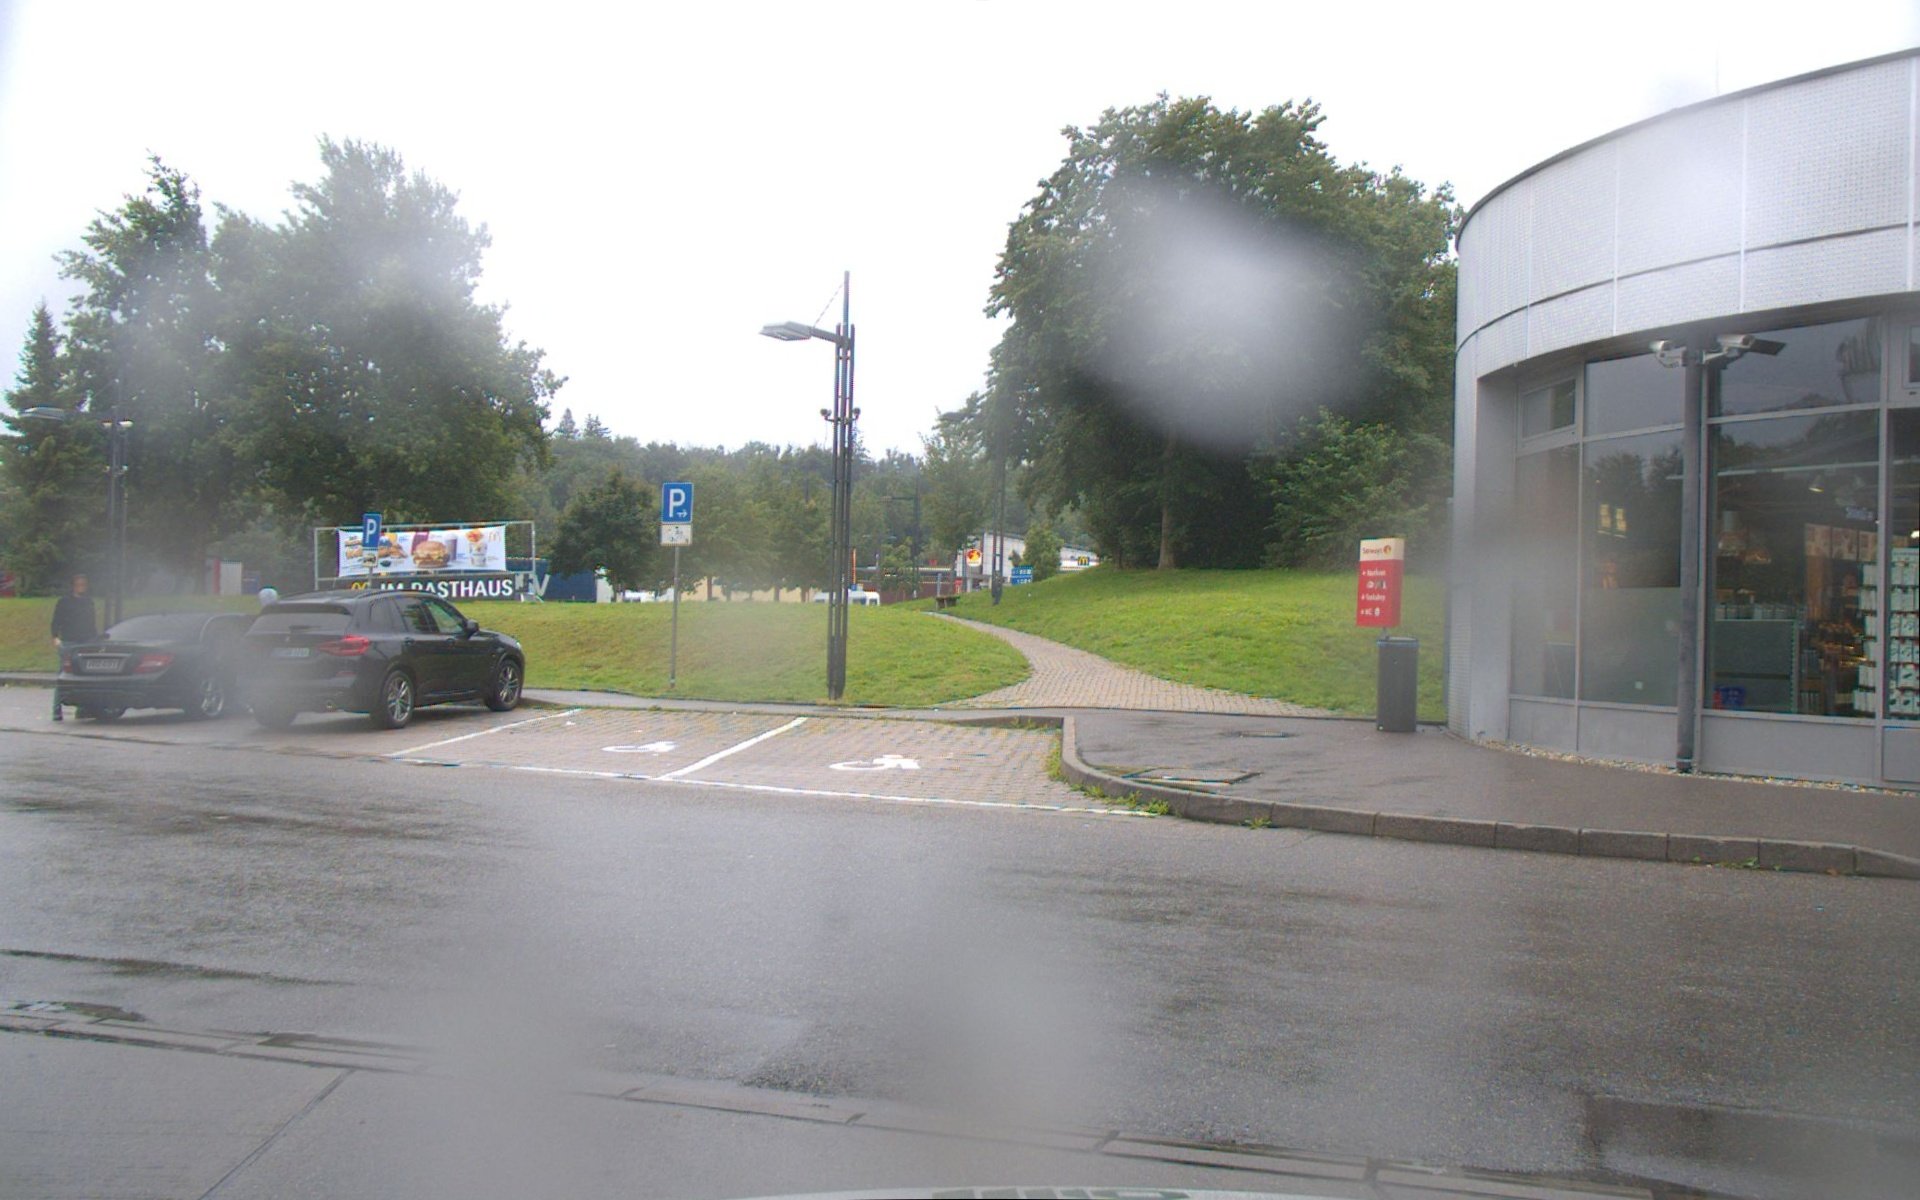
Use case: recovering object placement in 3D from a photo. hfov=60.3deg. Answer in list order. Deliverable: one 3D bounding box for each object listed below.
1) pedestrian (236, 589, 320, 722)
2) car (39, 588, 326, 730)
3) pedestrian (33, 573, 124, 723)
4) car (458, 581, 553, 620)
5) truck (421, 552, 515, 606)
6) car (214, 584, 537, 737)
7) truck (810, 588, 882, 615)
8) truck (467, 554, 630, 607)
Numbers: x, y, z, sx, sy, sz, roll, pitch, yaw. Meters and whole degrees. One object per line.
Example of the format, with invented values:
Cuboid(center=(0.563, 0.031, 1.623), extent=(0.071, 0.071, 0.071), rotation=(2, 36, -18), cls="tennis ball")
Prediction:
Cuboid(center=(-8.726, 0.699, 21.146), extent=(0.939, 1.660, 0.698), rotation=(1, -1, -25), cls="pedestrian")
Cuboid(center=(-10.570, 0.719, 22.888), extent=(1.976, 1.741, 4.342), rotation=(-1, 1, -2), cls="car")
Cuboid(center=(-11.654, 0.619, 21.867), extent=(0.875, 1.920, 0.702), rotation=(1, -1, 34), cls="pedestrian")
Cuboid(center=(-22.197, 0.041, 80.873), extent=(4.092, 1.814, 1.820), rotation=(1, 0, -37), cls="car")
Cuboid(center=(-27.975, -1.174, 94.253), extent=(2.142, 2.971, 5.384), rotation=(1, 0, 24), cls="truck")
Cuboid(center=(-7.362, 0.692, 21.370), extent=(1.973, 1.741, 4.347), rotation=(-1, 1, 11), cls="car")
Cuboid(center=(-9.226, 0.131, 133.665), extent=(5.298, 2.049, 2.366), rotation=(1, 0, 24), cls="truck")
Cuboid(center=(-24.924, -1.091, 101.268), extent=(2.142, 2.971, 13.092), rotation=(1, 0, 23), cls="truck")
